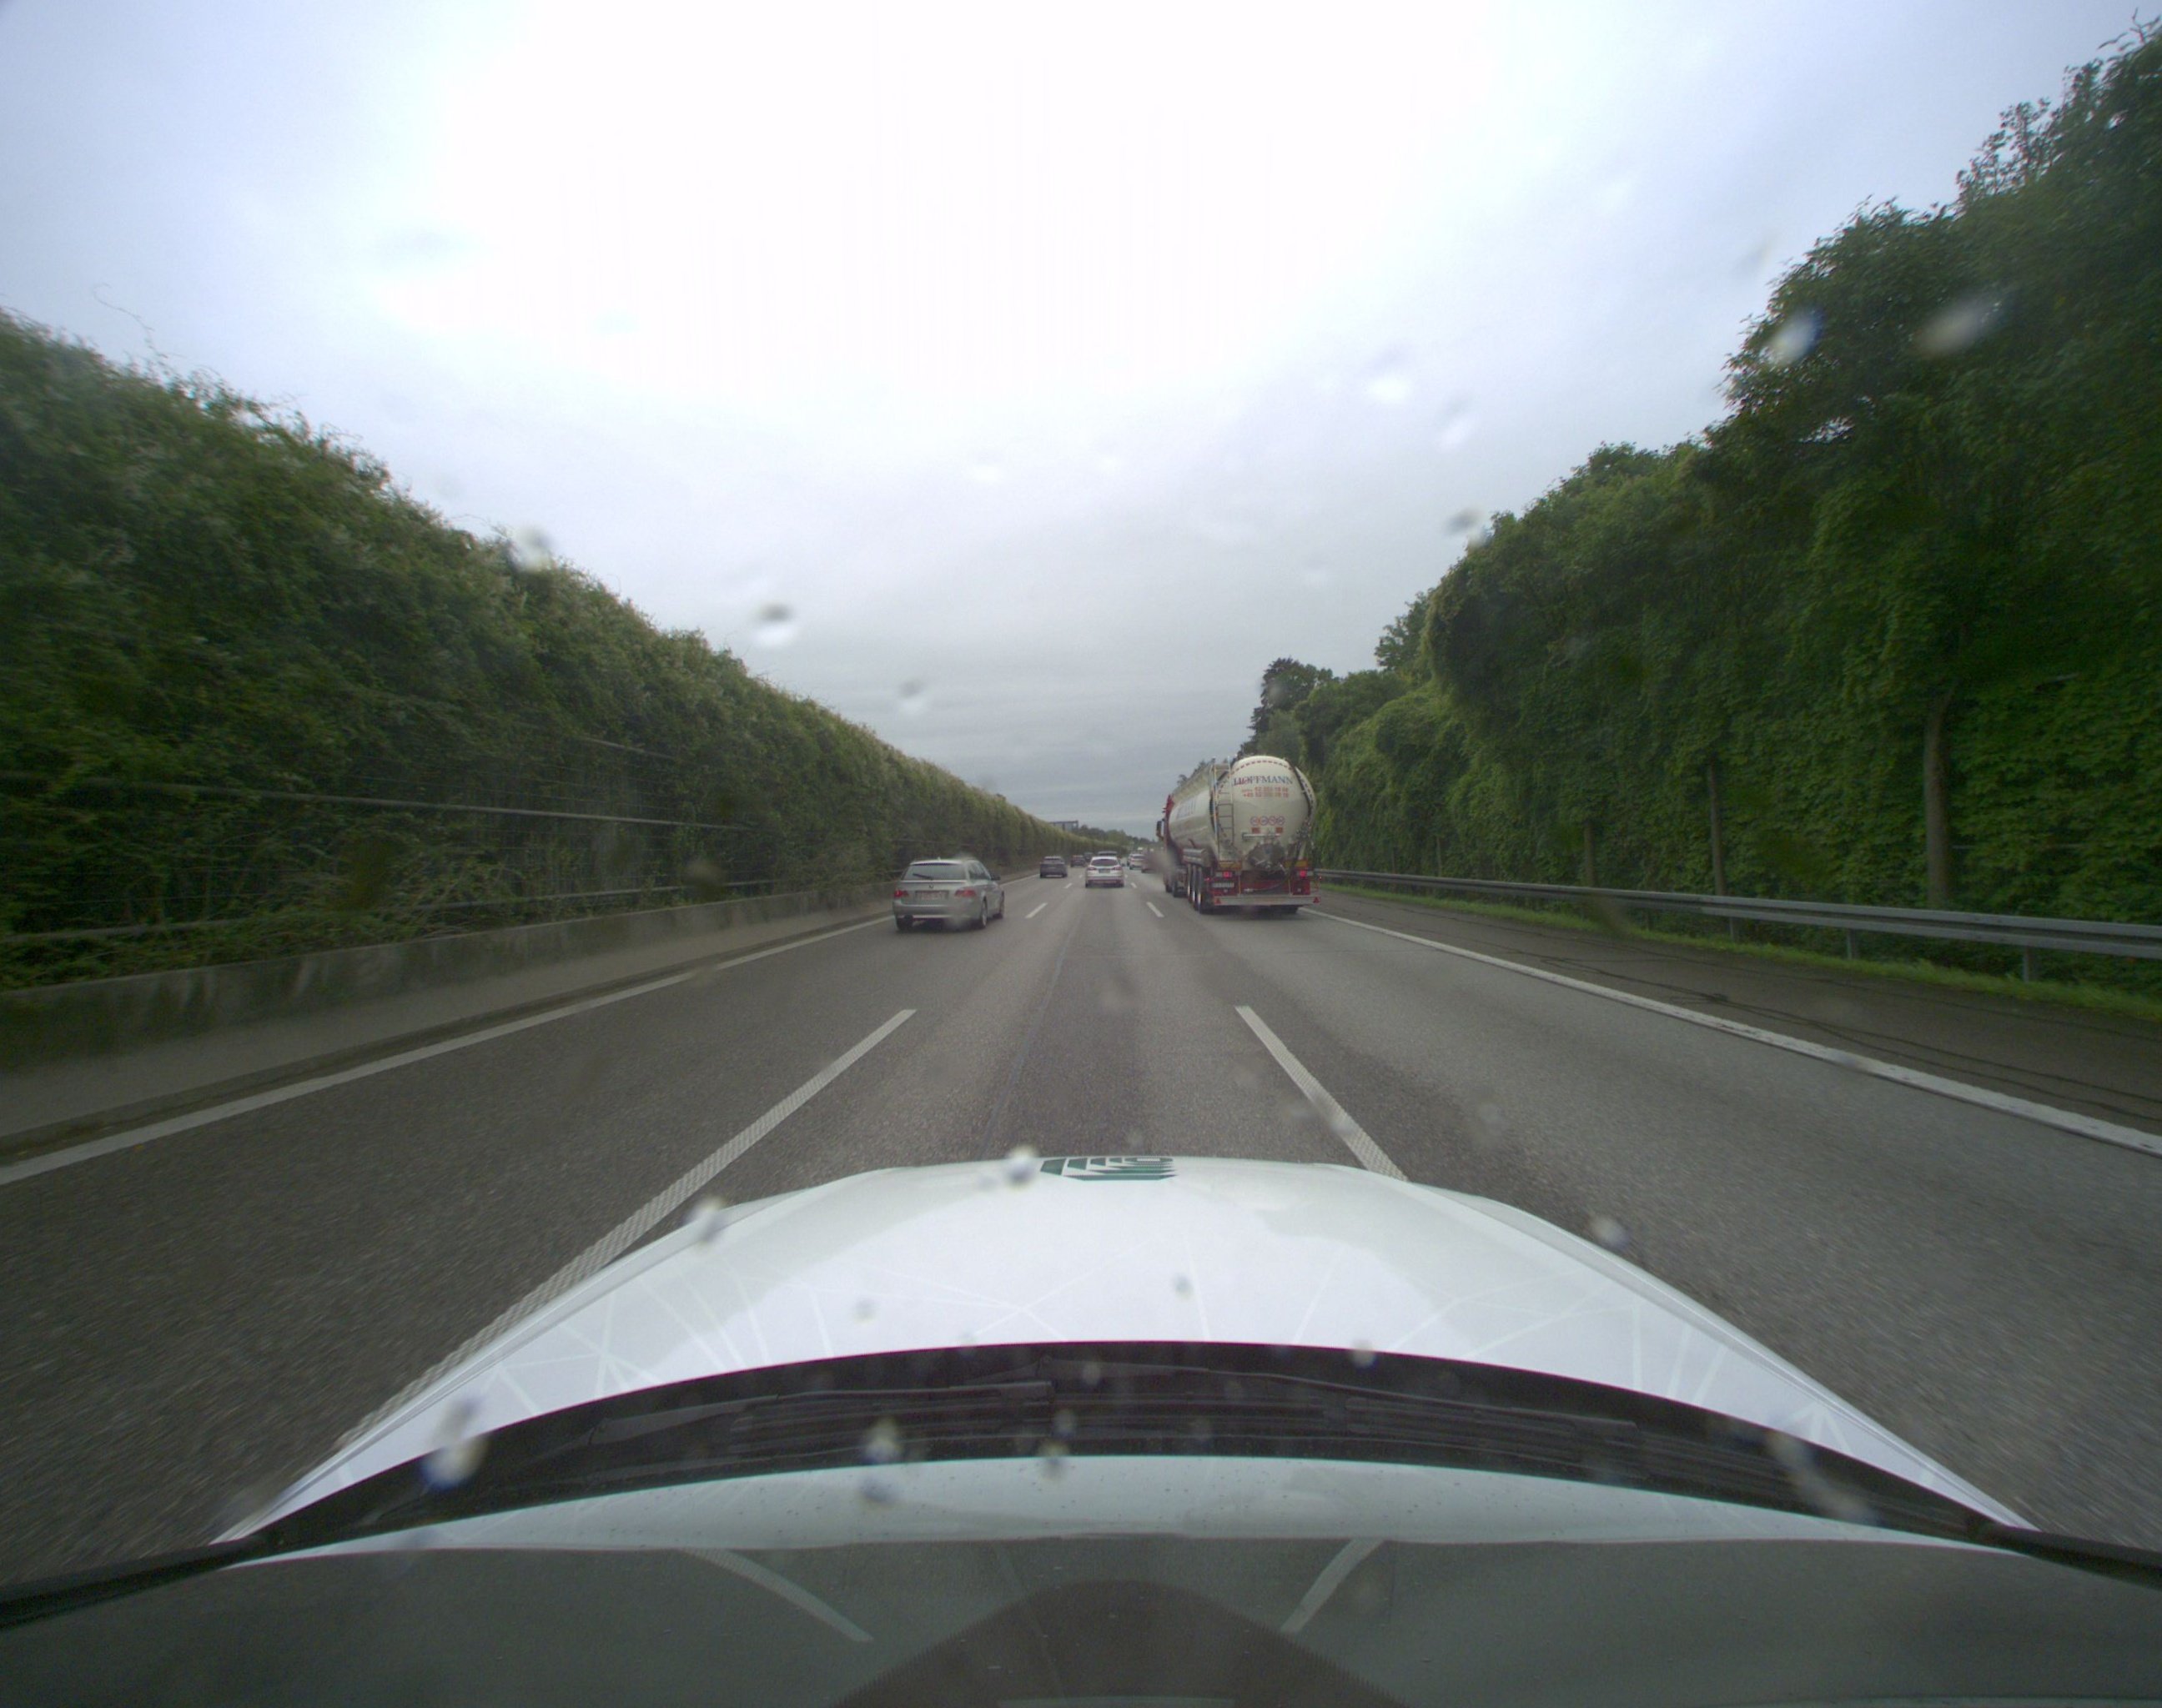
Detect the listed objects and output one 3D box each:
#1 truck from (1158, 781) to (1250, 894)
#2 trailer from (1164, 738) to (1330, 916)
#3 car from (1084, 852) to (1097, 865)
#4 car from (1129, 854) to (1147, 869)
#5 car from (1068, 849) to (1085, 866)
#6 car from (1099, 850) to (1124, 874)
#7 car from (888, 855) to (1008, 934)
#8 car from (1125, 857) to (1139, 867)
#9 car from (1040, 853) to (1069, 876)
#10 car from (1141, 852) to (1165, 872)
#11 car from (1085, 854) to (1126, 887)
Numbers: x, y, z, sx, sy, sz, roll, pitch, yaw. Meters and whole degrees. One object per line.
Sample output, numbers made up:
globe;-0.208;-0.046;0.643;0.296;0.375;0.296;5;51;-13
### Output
truck;4.536;-0.547;31.307;2.685;3.912;6.558;0;-1;1
trailer;4.349;-0.542;24.611;2.658;3.939;13.133;0;0;1
car;1.553;0.654;130.270;1.986;2.013;4.002;0;0;2
car;5.866;0.785;83.861;1.682;1.506;3.872;0;0;2
car;-0.526;0.443;99.939;1.986;2.013;3.843;0;0;2
car;2.255;0.571;60.643;1.683;1.506;3.872;4;1;1
car;-2.807;0.792;18.318;1.713;1.469;5.032;0;0;2
car;6.811;1.044;108.470;1.682;1.331;3.873;0;0;2
car;-1.803;0.731;56.856;1.713;1.512;5.032;0;0;2
car;6.041;0.652;68.476;1.808;1.625;5.034;0;0;3
car;1.196;0.745;39.948;1.884;1.504;5.032;0;0;2
